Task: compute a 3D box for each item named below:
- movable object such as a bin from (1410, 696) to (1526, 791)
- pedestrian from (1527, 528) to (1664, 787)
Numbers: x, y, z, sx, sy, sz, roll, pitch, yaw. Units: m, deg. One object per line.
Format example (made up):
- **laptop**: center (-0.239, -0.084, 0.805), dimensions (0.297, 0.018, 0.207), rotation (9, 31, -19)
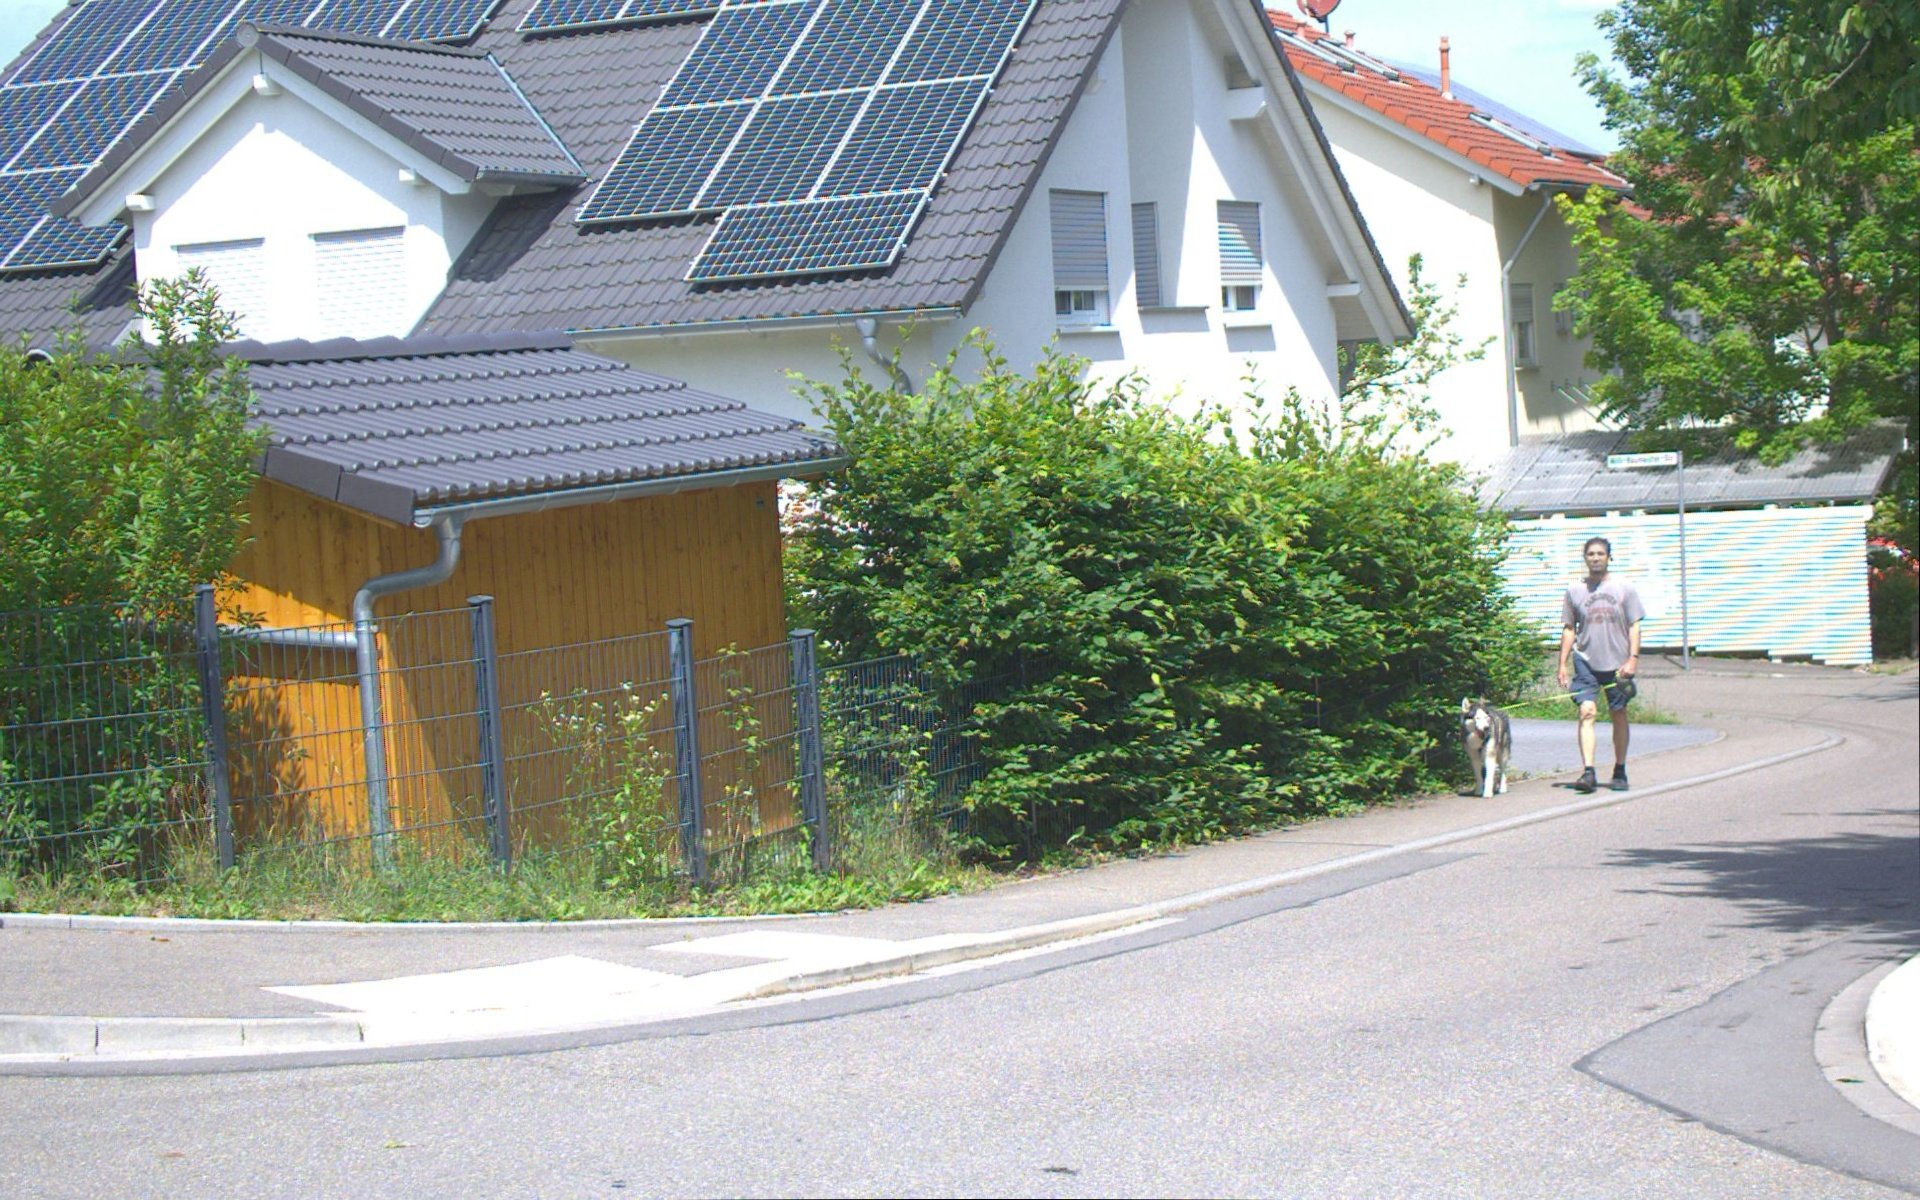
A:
- **movable object such as a bin**: center (3.557, 0.996, 24.018), dimensions (0.548, 0.626, 1.019), rotation (0, -1, 24)
- **pedestrian**: center (4.542, 0.415, 24.545), dimensions (0.847, 1.814, 0.834), rotation (-1, -2, 18)
